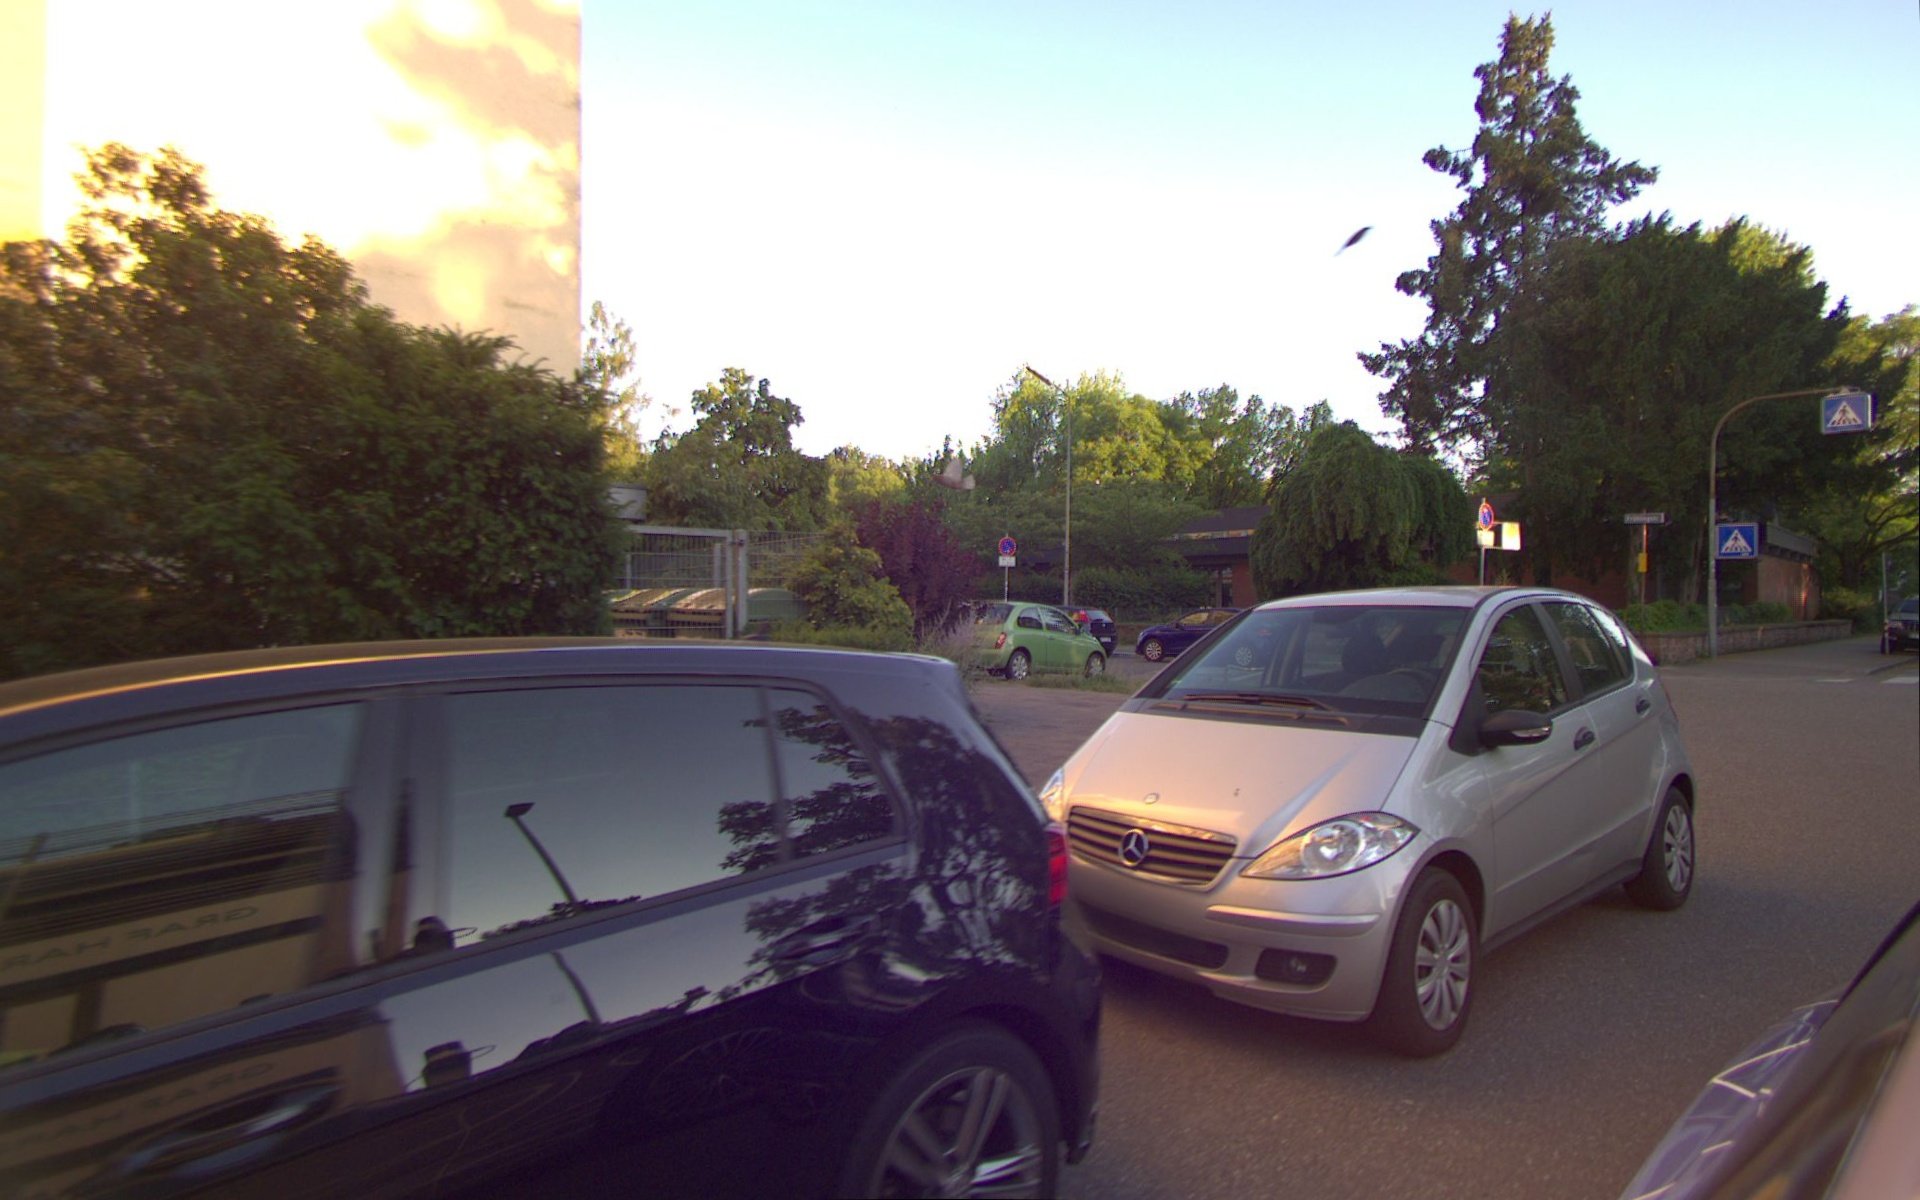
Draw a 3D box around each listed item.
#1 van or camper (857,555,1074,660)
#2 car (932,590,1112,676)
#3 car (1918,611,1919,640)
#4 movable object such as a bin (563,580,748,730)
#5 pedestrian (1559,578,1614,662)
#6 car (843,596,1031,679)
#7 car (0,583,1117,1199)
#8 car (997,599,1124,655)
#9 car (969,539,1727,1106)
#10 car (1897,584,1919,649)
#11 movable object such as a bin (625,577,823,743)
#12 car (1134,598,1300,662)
[{"bbox_3d":[-0.051,0.265,28.715,2.060,2.623,6.855,0,-2,-42],"label":"van or camper"},{"bbox_3d":[1.284,0.679,19.864,1.622,1.532,3.513,-2,-4,44],"label":"car"},{"bbox_3d":[32.330,0.566,32.667,3.819,1.518,1.784,1,3,-44],"label":"car"},{"bbox_3d":[-3.309,0.562,11.037,1.183,1.489,1.557,-1,-1,45],"label":"movable object such as a bin"},{"bbox_3d":[13.778,0.421,22.281,0.816,1.746,0.855,3,3,23],"label":"pedestrian"},{"bbox_3d":[-0.407,0.742,21.426,1.821,1.572,3.939,-1,-1,42],"label":"car"},{"bbox_3d":[-1.676,0.702,1.700,3.957,1.437,1.719,0,-1,-41],"label":"car"},{"bbox_3d":[2.851,0.743,29.170,3.499,1.504,1.510,0,-1,44],"label":"car"},{"bbox_3d":[2.055,0.634,4.811,3.817,1.596,1.812,0,-1,-41],"label":"car"},{"bbox_3d":[28.078,0.478,28.815,3.819,1.775,1.784,1,1,-44],"label":"car"},{"bbox_3d":[-2.325,0.551,10.038,1.123,1.489,1.557,-1,-1,45],"label":"movable object such as a bin"},{"bbox_3d":[6.498,0.723,25.805,3.774,1.504,1.698,0,-1,41],"label":"car"}]
